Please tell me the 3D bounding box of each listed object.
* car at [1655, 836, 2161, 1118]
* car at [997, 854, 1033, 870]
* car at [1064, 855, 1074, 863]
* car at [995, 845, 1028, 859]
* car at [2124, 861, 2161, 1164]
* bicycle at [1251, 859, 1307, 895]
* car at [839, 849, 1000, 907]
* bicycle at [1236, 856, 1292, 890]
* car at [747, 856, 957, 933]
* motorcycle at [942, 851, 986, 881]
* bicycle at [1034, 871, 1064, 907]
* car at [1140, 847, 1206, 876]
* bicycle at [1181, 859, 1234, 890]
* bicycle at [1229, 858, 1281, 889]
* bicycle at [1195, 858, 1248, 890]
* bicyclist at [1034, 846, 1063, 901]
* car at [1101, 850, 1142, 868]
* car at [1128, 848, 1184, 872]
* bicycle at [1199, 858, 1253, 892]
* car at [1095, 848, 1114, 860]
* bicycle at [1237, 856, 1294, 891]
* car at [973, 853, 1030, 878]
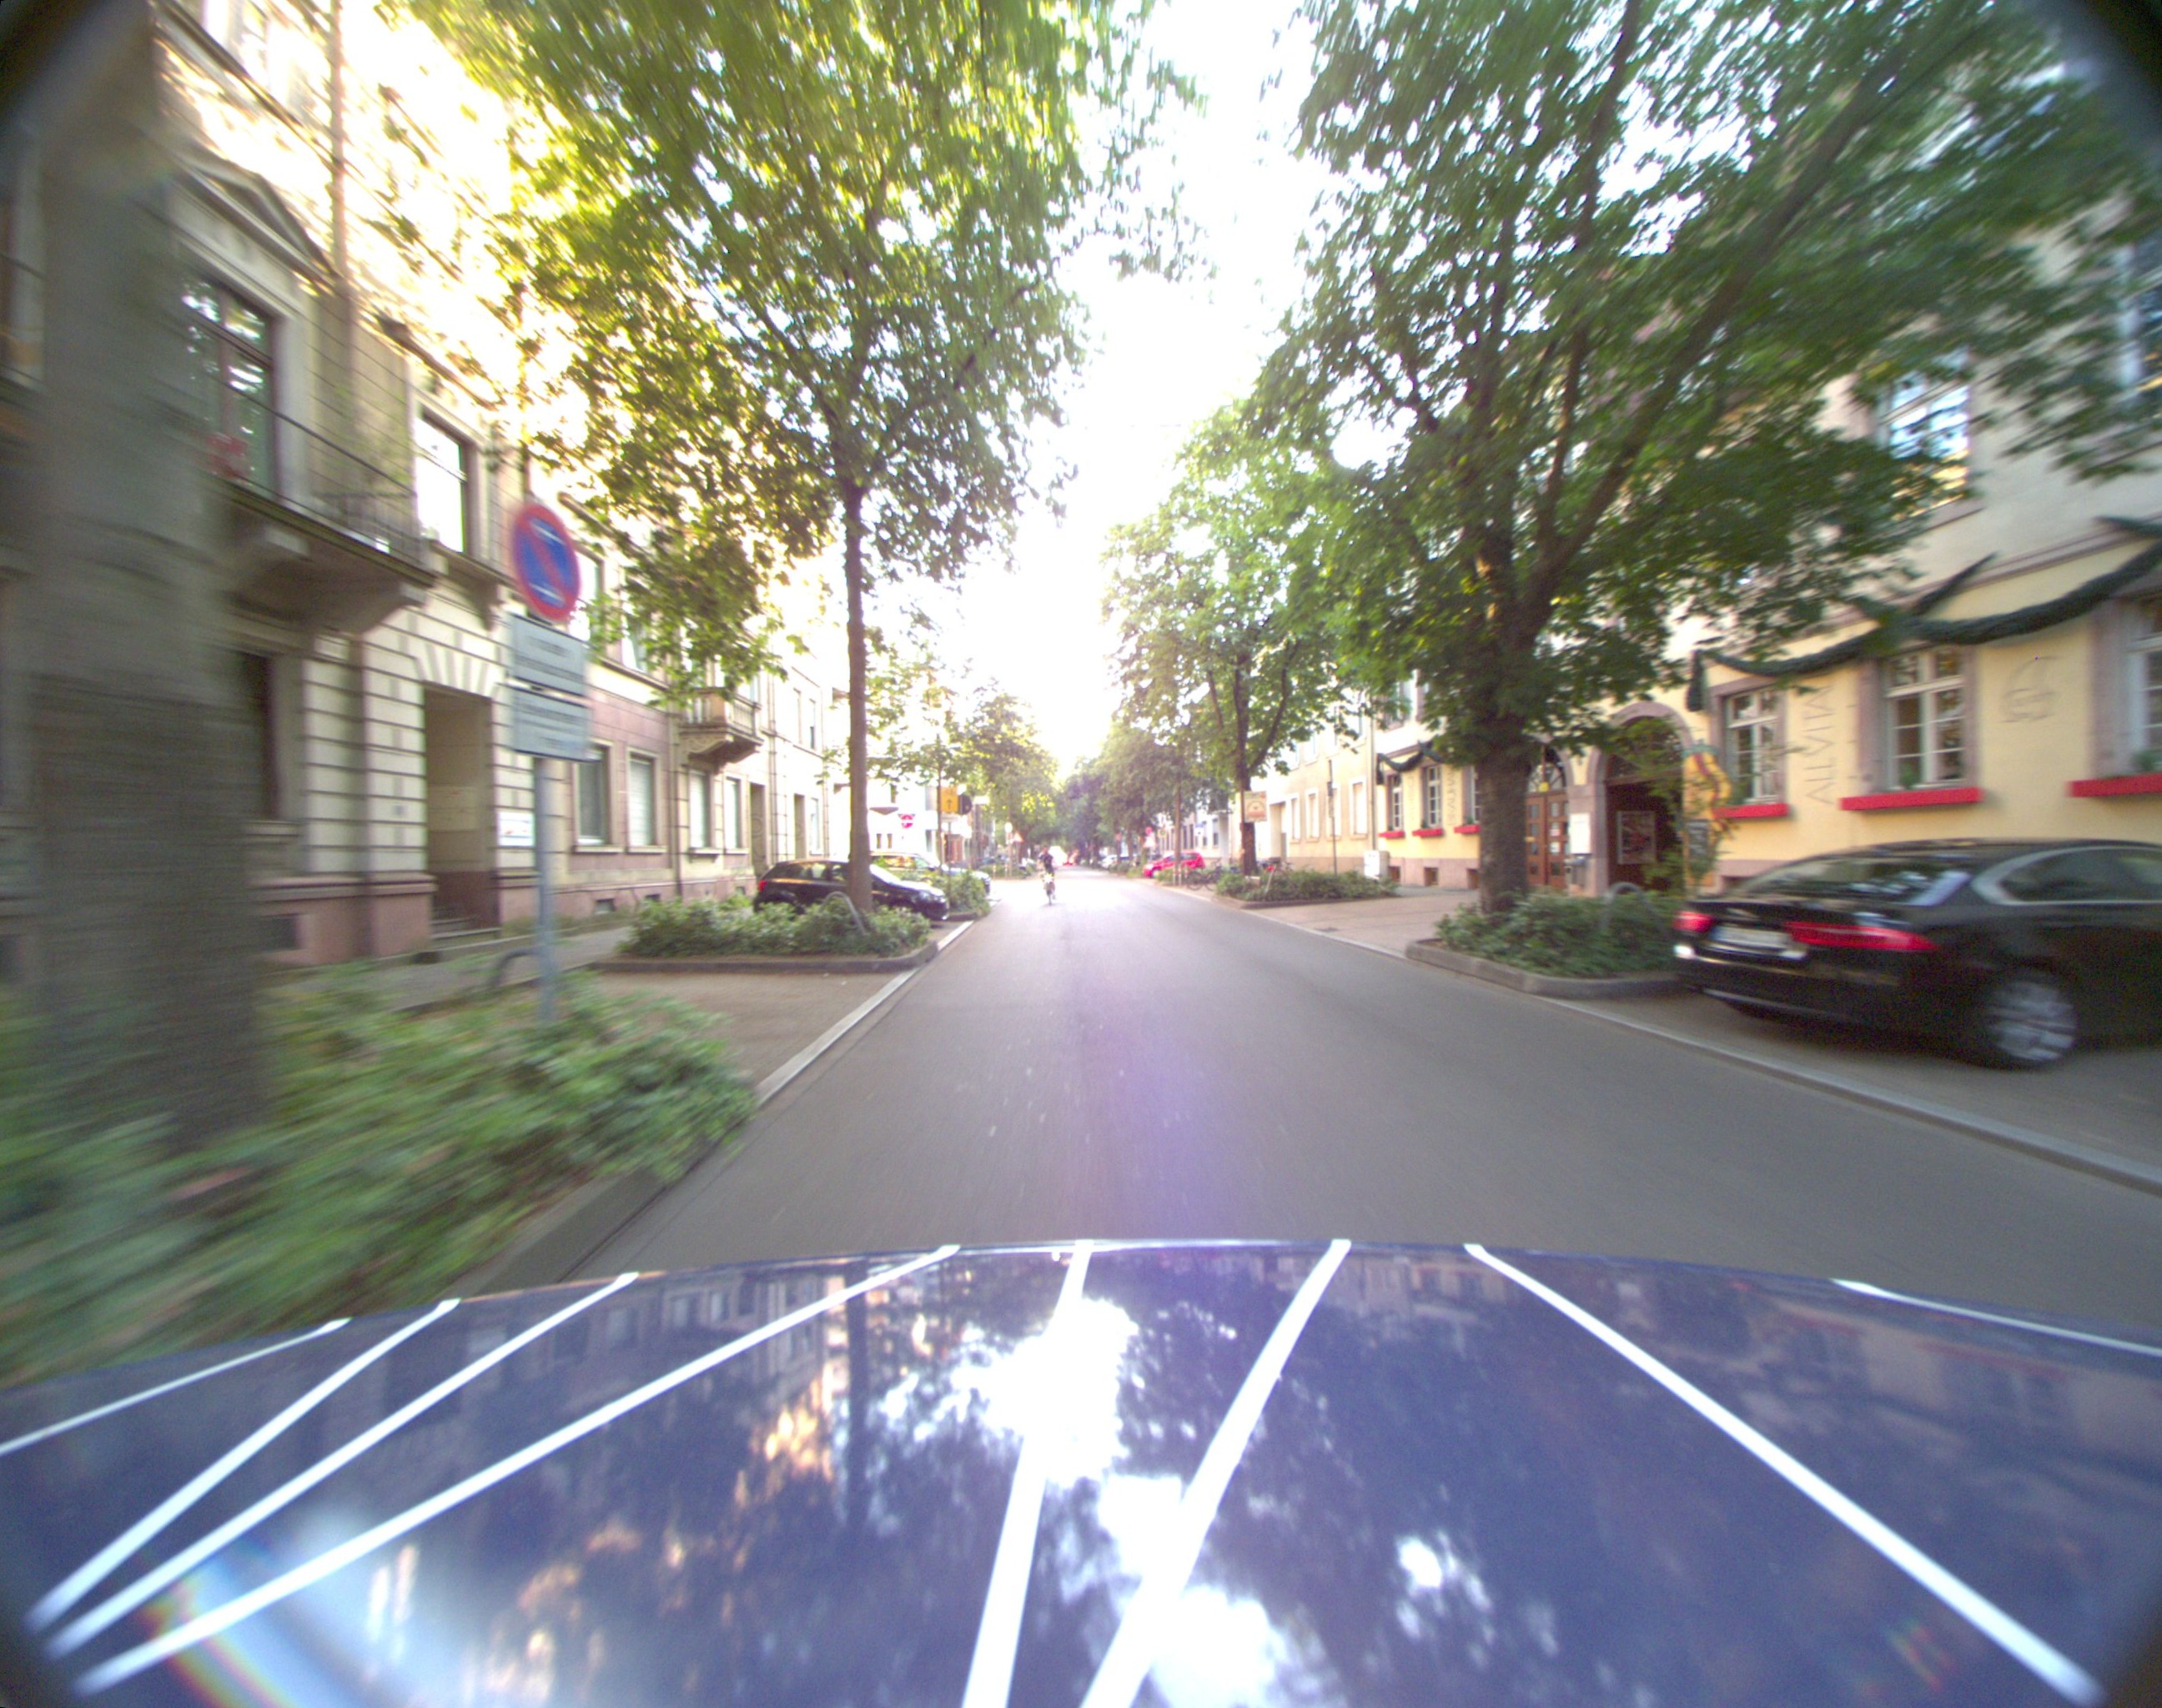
[{"bbox_3d":[6.869,0.680,5.409,4.437,1.399,1.717,-3,2,-6],"label":"car"},{"bbox_3d":[-6.860,0.873,79.114,3.552,1.411,1.590,-4,0,-2],"label":"car"},{"bbox_3d":[-2.189,0.871,140.603,1.673,1.411,3.554,-4,0,-2],"label":"car"},{"bbox_3d":[-7.991,-0.249,87.314,3.552,1.411,1.590,-4,0,-2],"label":"car"},{"bbox_3d":[7.007,0.655,2.963,3.694,1.441,1.659,-4,1,-2],"label":"car"},{"bbox_3d":[6.585,0.759,25.236,1.712,1.093,0.480,-3,1,-8],"label":"bicycle"},{"bbox_3d":[-4.889,0.706,23.349,4.421,1.552,1.867,2,0,5],"label":"car"},{"bbox_3d":[6.591,0.680,27.383,1.869,1.093,0.509,-3,1,-8],"label":"bicycle"},{"bbox_3d":[-4.681,0.822,16.005,3.876,1.419,1.781,2,0,-3],"label":"car"},{"bbox_3d":[-6.512,0.673,42.326,2.248,1.537,0.772,-3,1,-17],"label":"motorcycle"},{"bbox_3d":[-0.960,1.042,23.038,0.778,0.967,2.024,-2,0,1],"label":"bicycle"},{"bbox_3d":[5.308,0.427,44.024,3.498,1.397,1.672,-4,0,-5],"label":"car"},{"bbox_3d":[4.828,0.781,29.042,1.869,1.092,0.480,-3,1,-8],"label":"bicycle"},{"bbox_3d":[6.718,0.738,29.393,1.869,1.093,0.480,-3,1,-8],"label":"bicycle"},{"bbox_3d":[5.268,0.759,28.517,1.869,1.093,0.480,-3,1,-8],"label":"bicycle"},{"bbox_3d":[-0.978,0.576,23.036,0.753,1.612,1.147,-2,1,1],"label":"bicyclist"},{"bbox_3d":[3.775,0.455,71.138,3.552,1.411,1.590,-4,0,-2],"label":"car"},{"bbox_3d":[5.174,0.431,52.807,3.553,1.411,1.590,-4,0,-5],"label":"car"},{"bbox_3d":[5.310,0.756,27.873,1.869,1.138,0.480,-3,1,-8],"label":"bicycle"},{"bbox_3d":[2.822,0.016,92.426,1.999,1.368,3.998,-2,1,-2],"label":"car"},{"bbox_3d":[6.474,0.682,26.674,1.869,1.093,0.480,-3,1,-8],"label":"bicycle"},{"bbox_3d":[-6.075,0.865,58.218,4.167,1.665,1.590,-4,0,-2],"label":"car"}]
